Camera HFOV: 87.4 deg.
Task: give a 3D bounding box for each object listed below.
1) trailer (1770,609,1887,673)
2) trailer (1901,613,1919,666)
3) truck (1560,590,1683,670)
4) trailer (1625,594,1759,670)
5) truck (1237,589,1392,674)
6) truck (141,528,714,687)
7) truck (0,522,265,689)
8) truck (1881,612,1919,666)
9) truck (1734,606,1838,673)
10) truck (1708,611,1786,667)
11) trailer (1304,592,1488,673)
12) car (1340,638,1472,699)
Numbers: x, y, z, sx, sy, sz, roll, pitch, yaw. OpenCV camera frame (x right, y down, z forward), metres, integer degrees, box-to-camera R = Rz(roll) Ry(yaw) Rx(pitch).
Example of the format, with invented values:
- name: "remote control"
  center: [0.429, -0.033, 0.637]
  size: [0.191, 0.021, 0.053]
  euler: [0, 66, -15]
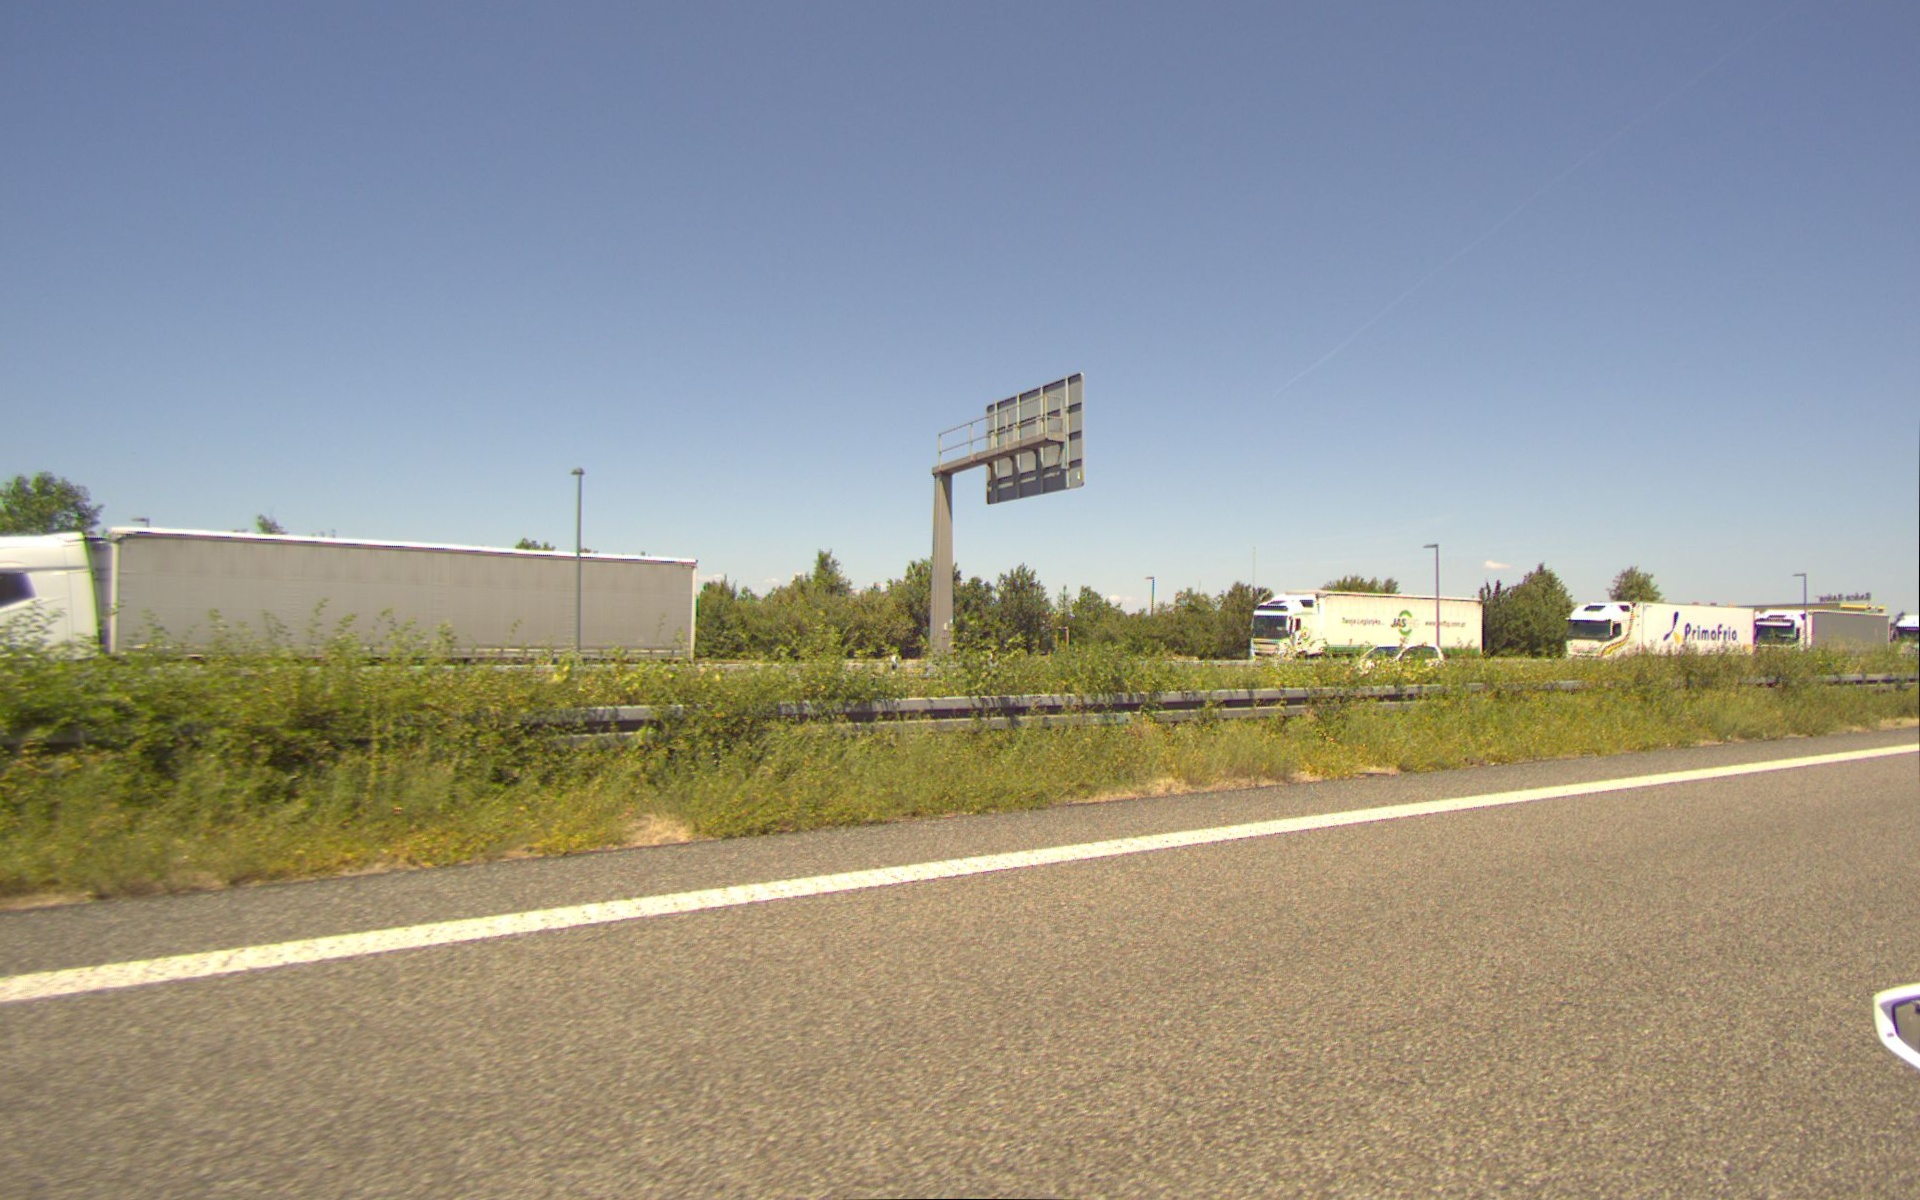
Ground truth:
- name: "trailer"
  center: [62.049, 2.916, 71.625]
  size: [10.891, 4.213, 3.097]
  euler: [2, 0, -32]
- name: "trailer"
  center: [82.470, 3.373, 83.643]
  size: [11.946, 4.204, 2.818]
  euler: [2, 0, -31]
- name: "truck"
  center: [37.163, 1.691, 56.334]
  size: [7.844, 4.244, 2.569]
  euler: [2, -1, -31]
- name: "trailer"
  center: [44.216, 1.925, 60.550]
  size: [10.393, 4.275, 2.586]
  euler: [2, 0, -31]
- name: "truck"
  center: [18.819, 1.662, 53.151]
  size: [8.219, 4.207, 3.080]
  euler: [2, 0, -31]
- name: "truck"
  center: [-13.909, 0.348, 28.014]
  size: [13.447, 3.692, 2.785]
  euler: [2, 0, -30]
- name: "truck"
  center: [-20.554, 0.146, 24.091]
  size: [6.075, 3.692, 2.786]
  euler: [2, 0, -30]
- name: "truck"
  center: [76.749, 3.149, 80.161]
  size: [7.008, 4.127, 2.835]
  euler: [2, 0, -31]
- name: "truck"
  center: [55.762, 2.662, 67.734]
  size: [7.420, 4.213, 3.100]
  euler: [2, 0, -32]
- name: "truck"
  center: [60.005, 2.935, 76.564]
  size: [5.677, 4.059, 2.682]
  euler: [2, 0, -30]
- name: "trailer"
  center: [24.739, 1.853, 56.669]
  size: [11.871, 4.211, 3.079]
  euler: [2, 0, -31]
- name: "car"
  center: [14.415, 2.178, 32.419]
  size: [4.357, 1.770, 1.642]
  euler: [2, 0, -30]
